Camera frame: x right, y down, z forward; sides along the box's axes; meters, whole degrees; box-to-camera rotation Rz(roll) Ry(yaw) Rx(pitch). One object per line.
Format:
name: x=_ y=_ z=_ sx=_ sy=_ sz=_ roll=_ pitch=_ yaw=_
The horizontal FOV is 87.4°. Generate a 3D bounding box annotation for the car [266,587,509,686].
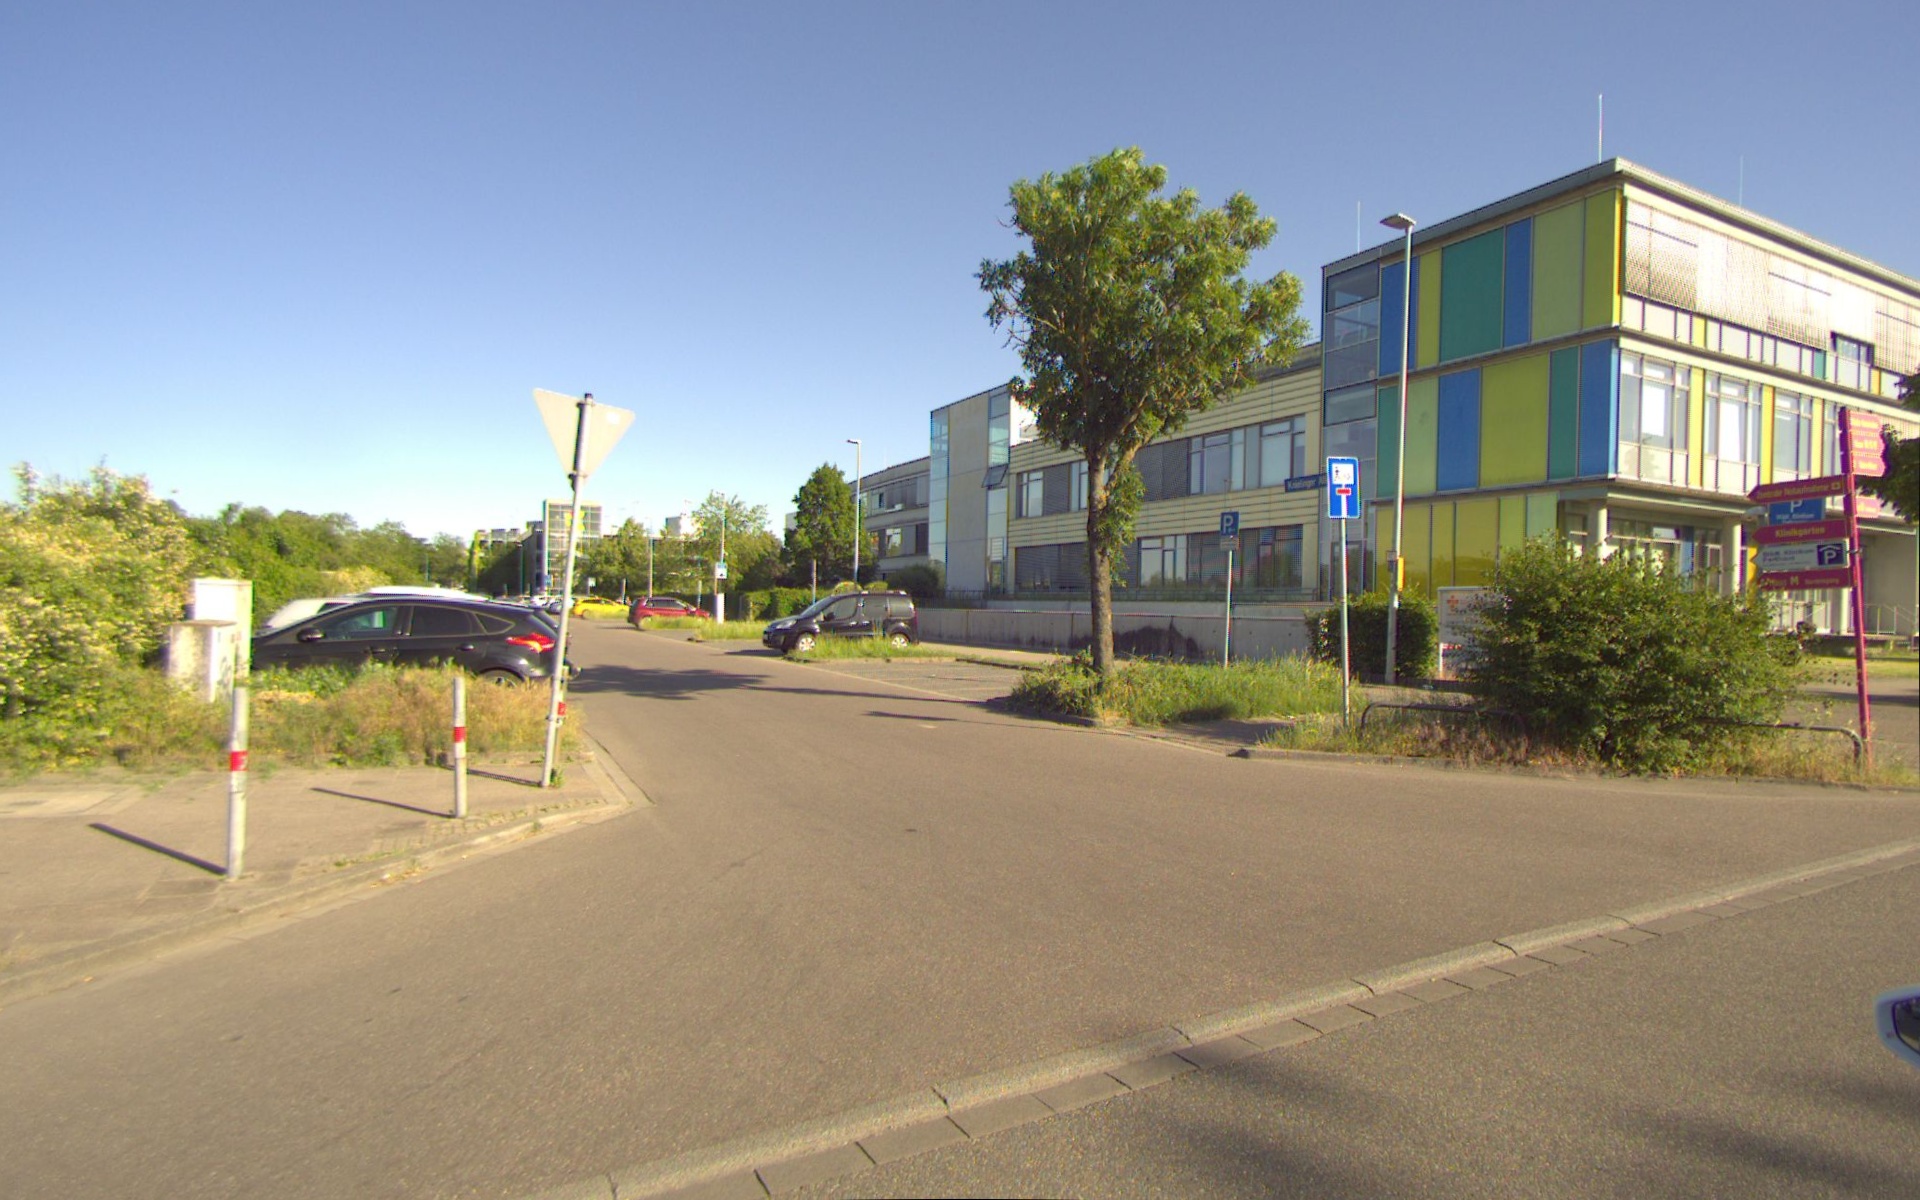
car: x=-10.621 y=0.668 z=18.947 sx=3.790 sy=1.717 sz=1.503 roll=1 pitch=0 yaw=-23

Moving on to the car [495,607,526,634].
car: x=-34.698 y=1.563 z=77.564 sx=1.974 sy=2.040 sz=3.972 roll=1 pitch=0 yaw=-27

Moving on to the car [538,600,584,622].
car: x=-38.668 y=1.077 z=97.301 sx=3.950 sy=2.040 sz=1.986 roll=1 pitch=0 yaw=-28

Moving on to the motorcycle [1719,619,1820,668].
motorcycle: x=21.824 y=1.147 z=27.130 sx=0.493 sy=1.165 sz=2.033 roll=0 pitch=3 yaw=-30

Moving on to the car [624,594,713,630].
car: x=-14.654 y=0.609 z=50.496 sx=3.950 sy=1.724 sz=1.985 roll=1 pitch=0 yaw=-28

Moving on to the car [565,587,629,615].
car: x=-27.827 y=0.116 z=76.997 sx=4.338 sy=2.040 sz=1.985 roll=1 pitch=0 yaw=-28

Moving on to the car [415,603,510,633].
car: x=-22.515 y=0.851 z=45.506 sx=3.800 sy=1.280 sz=1.499 roll=1 pitch=-3 yaw=-30

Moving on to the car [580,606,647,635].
car: x=-24.284 y=1.446 z=70.382 sx=4.331 sy=1.966 sz=1.989 roll=1 pitch=0 yaw=-23

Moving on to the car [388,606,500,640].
car: x=-19.953 y=0.919 z=38.913 sx=3.800 sy=1.280 sz=1.499 roll=1 pitch=-3 yaw=-30

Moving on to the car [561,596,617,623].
car: x=-29.680 y=0.758 z=80.418 sx=3.950 sy=2.040 sz=1.986 roll=1 pitch=0 yaw=-28

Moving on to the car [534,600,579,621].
car: x=-40.155 y=1.056 z=99.932 sx=3.950 sy=2.040 sz=1.986 roll=1 pitch=0 yaw=-28

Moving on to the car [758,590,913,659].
car: x=-3.474 y=0.682 z=28.074 sx=4.044 sy=1.813 sz=1.503 roll=1 pitch=0 yaw=-23
